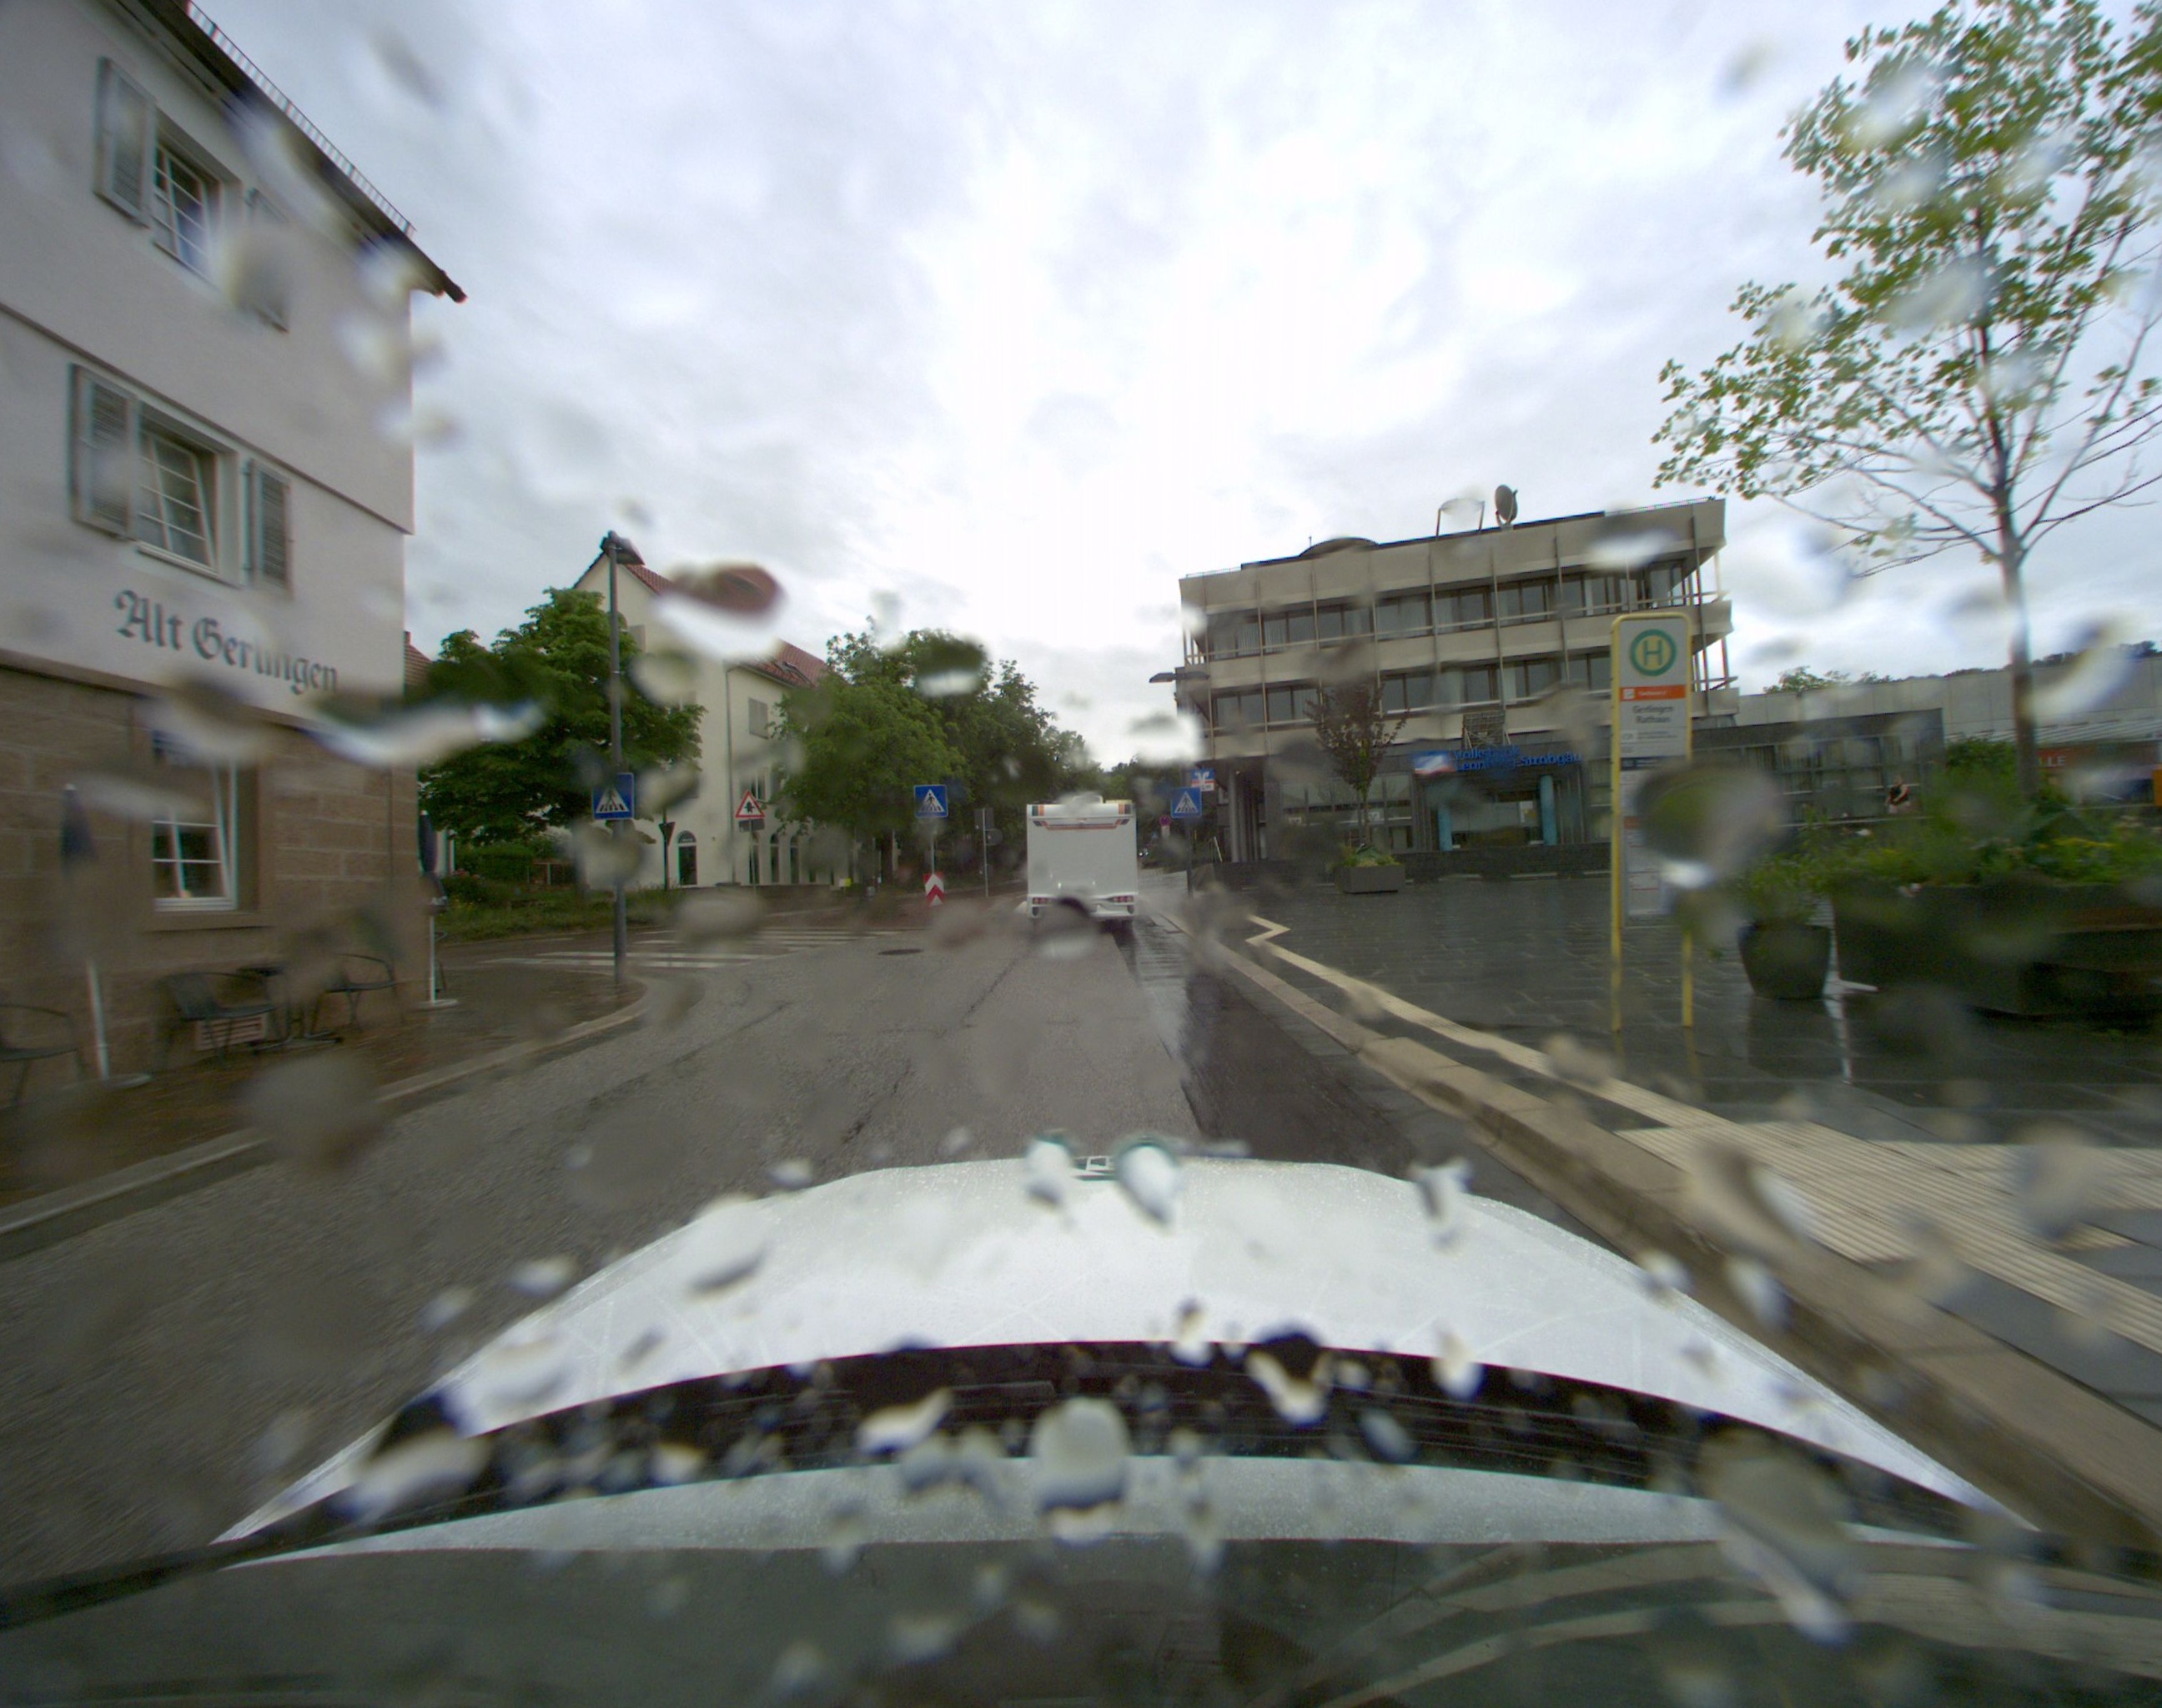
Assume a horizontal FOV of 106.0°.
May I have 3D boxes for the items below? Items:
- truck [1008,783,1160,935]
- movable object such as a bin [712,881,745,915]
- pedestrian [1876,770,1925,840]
[{"bbox_3d":[0.099,0.168,19.062,2.796,2.797,6.106,-4,-1,0],"label":"truck"},{"bbox_3d":[-11.719,1.476,27.096,0.628,1.059,0.702,-5,-2,26],"label":"movable object such as a bin"},{"bbox_3d":[26.311,-1.565,26.163,0.751,2.147,0.662,-5,-2,21],"label":"pedestrian"}]
